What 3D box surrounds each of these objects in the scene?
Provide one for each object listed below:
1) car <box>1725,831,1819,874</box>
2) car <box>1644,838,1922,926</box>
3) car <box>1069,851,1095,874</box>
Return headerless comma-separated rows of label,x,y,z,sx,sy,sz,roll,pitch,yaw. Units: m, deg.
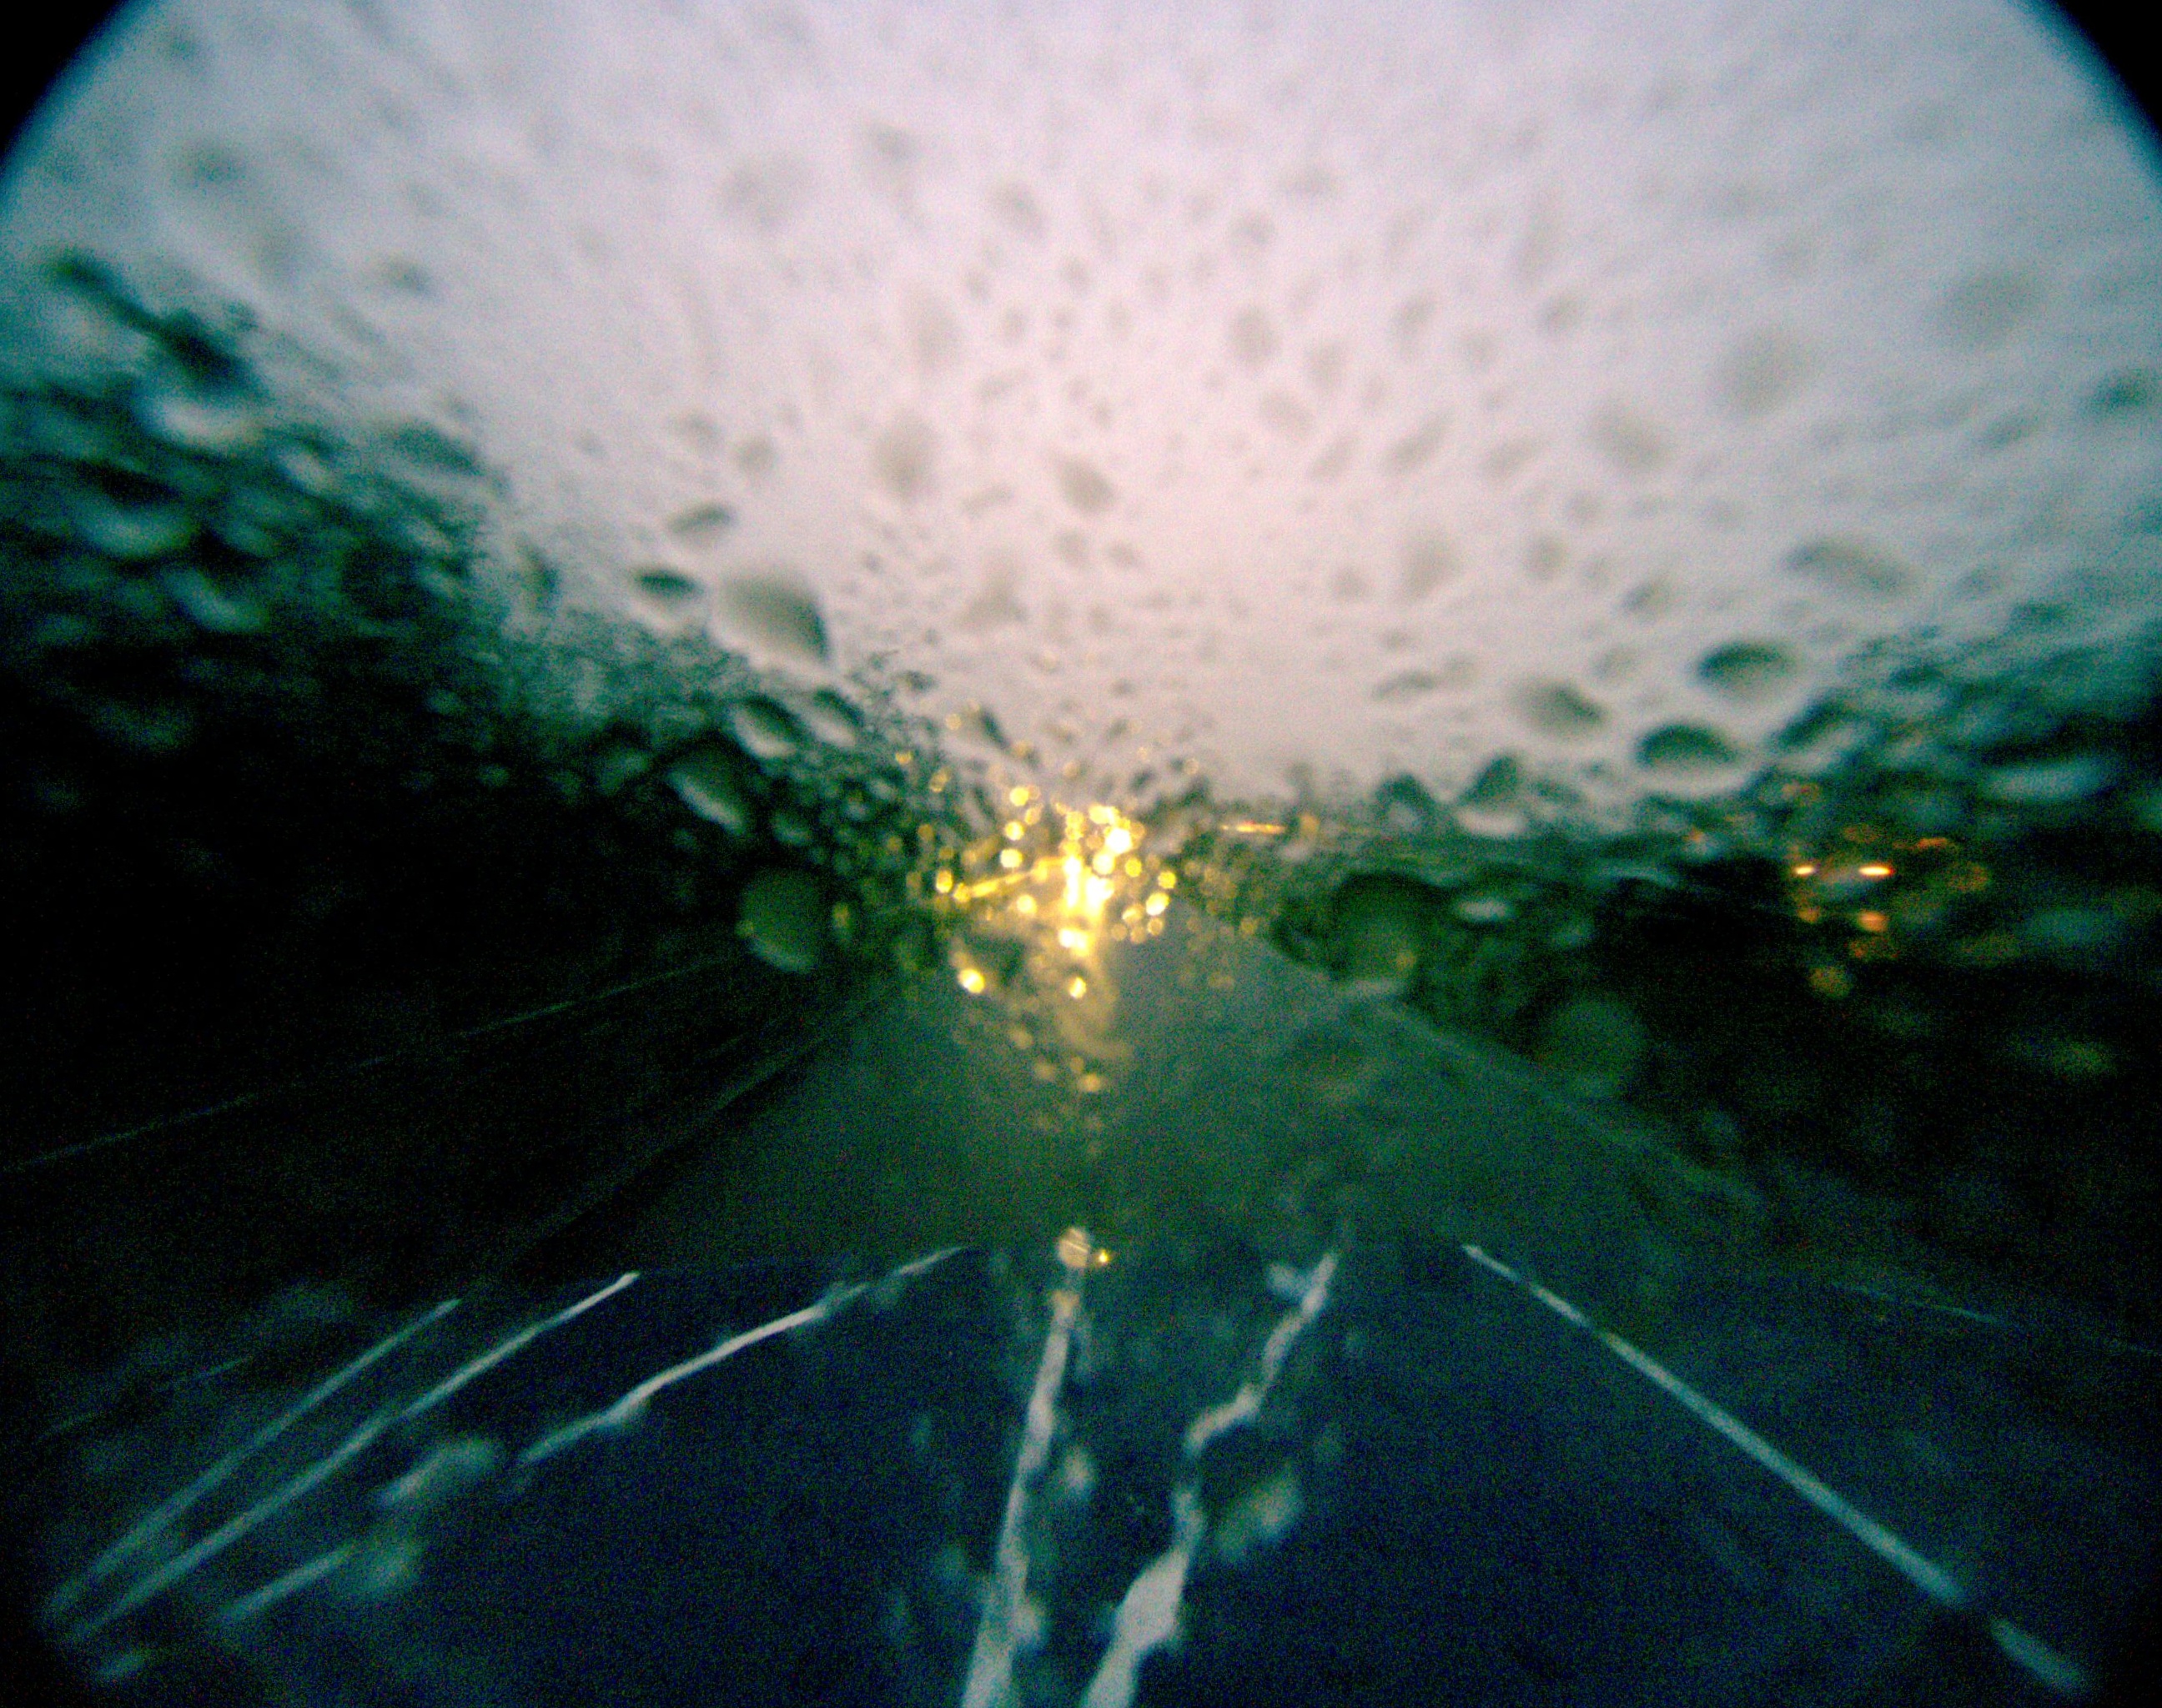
car,34.634,-0.073,38.221,1.914,2.002,4.004,-1,0,16
car,14.511,0.508,16.182,1.780,1.525,4.704,-3,0,5
car,0.103,0.581,55.512,1.841,1.553,3.867,-1,0,1
